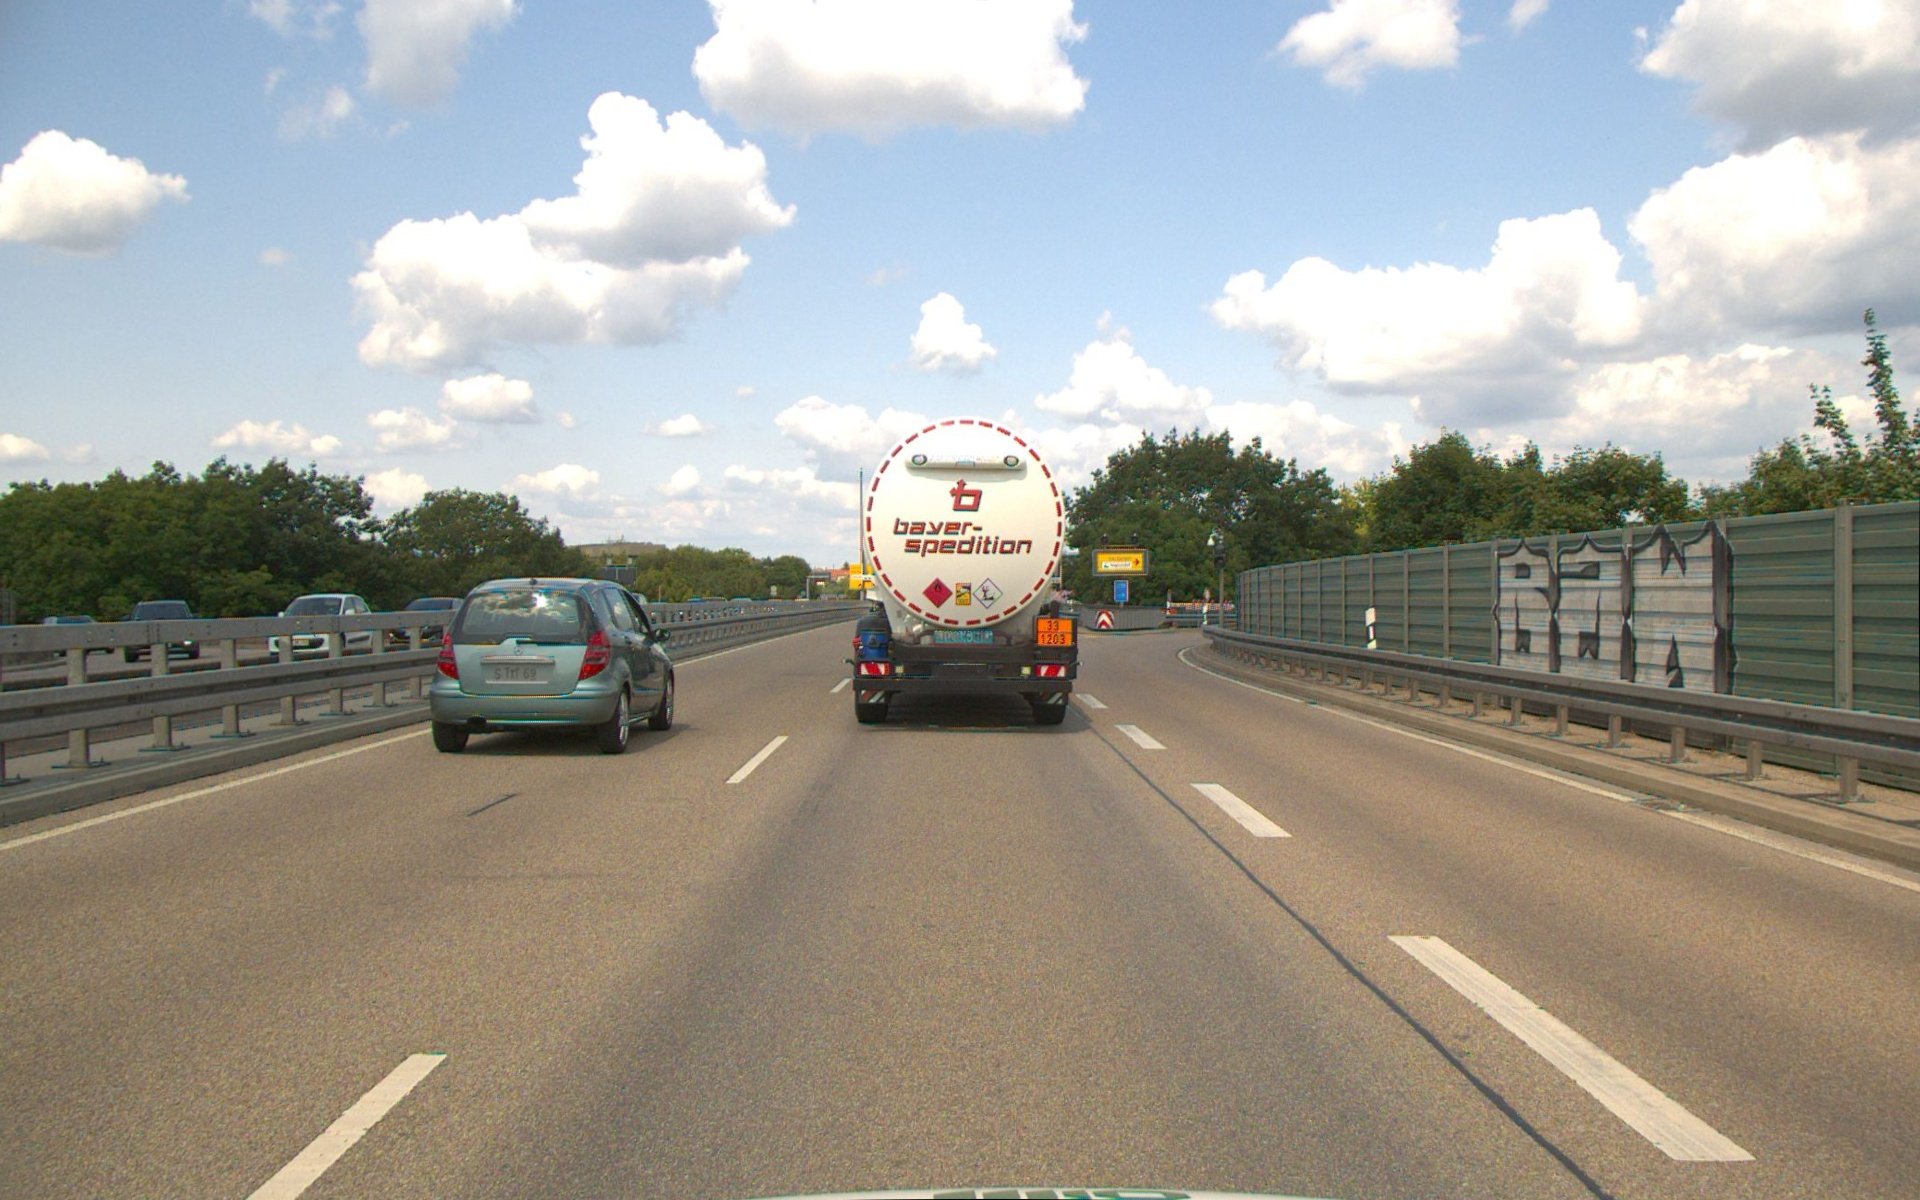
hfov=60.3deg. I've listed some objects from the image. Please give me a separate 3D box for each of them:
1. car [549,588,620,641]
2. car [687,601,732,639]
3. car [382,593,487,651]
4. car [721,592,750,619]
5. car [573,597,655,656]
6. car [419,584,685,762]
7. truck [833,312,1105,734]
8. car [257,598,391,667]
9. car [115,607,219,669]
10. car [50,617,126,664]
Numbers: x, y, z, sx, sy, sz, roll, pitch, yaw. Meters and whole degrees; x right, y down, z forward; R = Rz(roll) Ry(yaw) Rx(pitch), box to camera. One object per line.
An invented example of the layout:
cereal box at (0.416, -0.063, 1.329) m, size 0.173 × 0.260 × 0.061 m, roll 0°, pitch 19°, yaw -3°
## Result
car at (-15.300, 0.558, 67.566) m, size 1.921 × 1.959 × 5.189 m, roll 2°, pitch 1°, yaw -3°
car at (-11.830, 0.911, 78.372) m, size 1.692 × 1.651 × 3.740 m, roll 1°, pitch 1°, yaw -2°
car at (-15.723, 0.637, 49.706) m, size 1.885 × 1.601 × 4.243 m, roll -1°, pitch 0°, yaw -2°
car at (-15.607, 0.342, 115.284) m, size 1.550 × 1.741 × 4.409 m, roll 1°, pitch 1°, yaw -2°
car at (-11.611, 0.859, 55.754) m, size 1.953 × 1.889 × 4.237 m, roll 1°, pitch 0°, yaw -2°
car at (-3.907, 0.628, 16.509) m, size 1.712 × 1.558 × 3.999 m, roll 0°, pitch 0°, yaw -1°
truck at (0.030, -0.810, 21.625) m, size 2.836 × 4.445 × 8.027 m, roll 1°, pitch 0°, yaw -1°
car at (-15.643, 0.760, 40.883) m, size 1.885 × 1.601 × 3.885 m, roll 1°, pitch 0°, yaw -2°
car at (-22.311, 1.027, 46.681) m, size 1.892 × 1.601 × 4.265 m, roll 0°, pitch 0°, yaw -15°
car at (-32.749, 1.536, 62.065) m, size 1.909 × 1.601 × 4.228 m, roll -4°, pitch 0°, yaw -36°
